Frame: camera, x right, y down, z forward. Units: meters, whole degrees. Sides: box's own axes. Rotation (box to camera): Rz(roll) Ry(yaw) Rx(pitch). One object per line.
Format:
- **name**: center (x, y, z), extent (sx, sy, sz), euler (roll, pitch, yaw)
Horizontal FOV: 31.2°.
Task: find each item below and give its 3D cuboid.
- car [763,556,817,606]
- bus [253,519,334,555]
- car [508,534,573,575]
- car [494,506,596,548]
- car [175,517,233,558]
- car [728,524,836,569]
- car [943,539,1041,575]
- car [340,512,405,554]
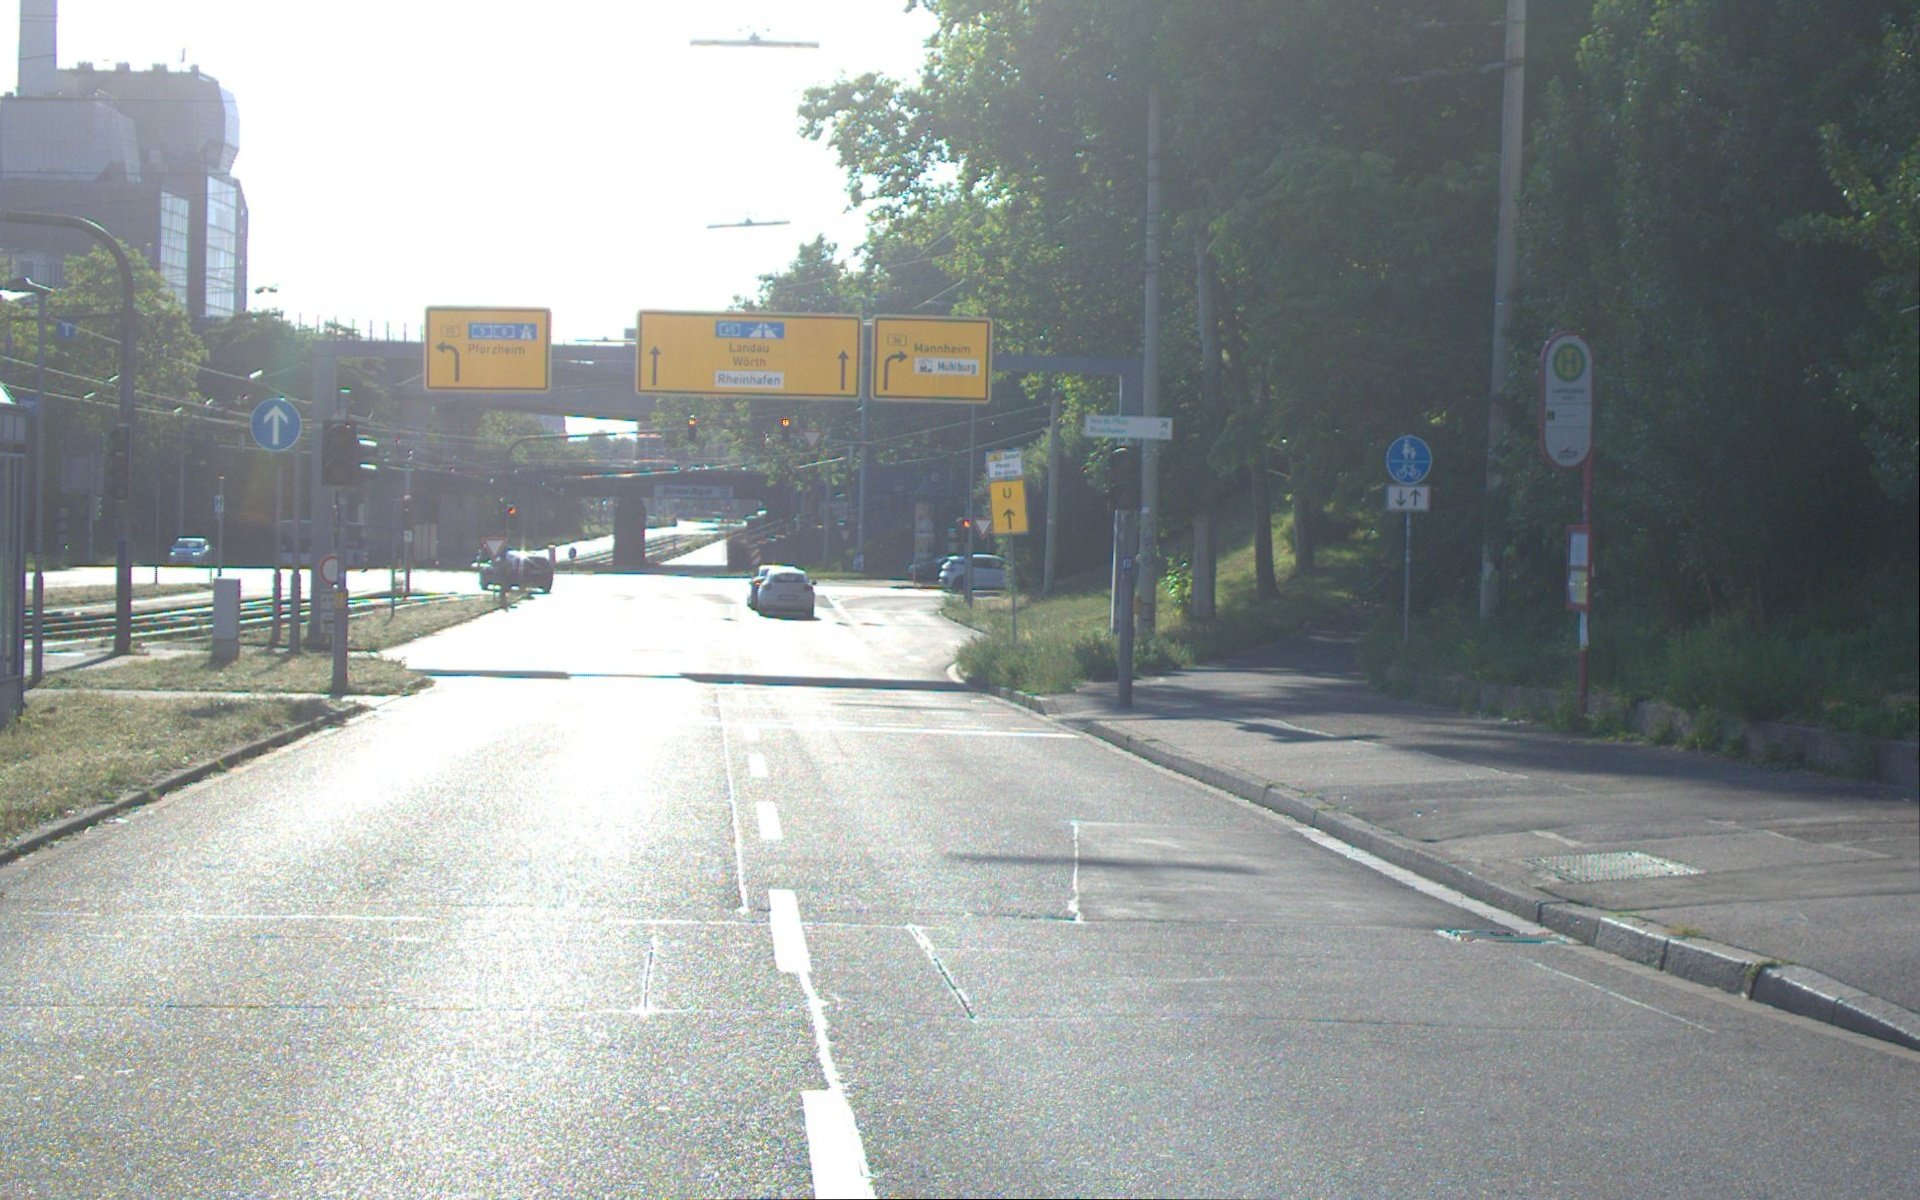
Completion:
- **car**: center (-5.276, -0.617, 106.670), extent (1.515, 1.383, 3.364), euler (2, 2, -1)
- **bus**: center (-39.435, -3.730, 203.779), extent (2.583, 2.007, 12.297), euler (1, 1, -1)
- **car**: center (-15.603, -1.701, 127.976), extent (2.037, 1.441, 4.001), euler (0, 1, -2)
- **car**: center (-21.563, -3.825, 178.639), extent (4.789, 2.006, 1.998), euler (2, 3, 18)
- **car**: center (-37.187, -3.076, 169.164), extent (1.993, 2.007, 4.000), euler (1, 1, -1)
- **car**: center (-8.737, -2.633, 168.939), extent (4.850, 2.006, 1.999), euler (2, 2, 16)
- **car**: center (1.329, -1.805, 143.237), extent (3.986, 1.441, 1.774), euler (0, 1, -3)
- **car**: center (-28.438, -3.238, 166.539), extent (1.994, 2.007, 4.862), euler (1, 1, 4)
